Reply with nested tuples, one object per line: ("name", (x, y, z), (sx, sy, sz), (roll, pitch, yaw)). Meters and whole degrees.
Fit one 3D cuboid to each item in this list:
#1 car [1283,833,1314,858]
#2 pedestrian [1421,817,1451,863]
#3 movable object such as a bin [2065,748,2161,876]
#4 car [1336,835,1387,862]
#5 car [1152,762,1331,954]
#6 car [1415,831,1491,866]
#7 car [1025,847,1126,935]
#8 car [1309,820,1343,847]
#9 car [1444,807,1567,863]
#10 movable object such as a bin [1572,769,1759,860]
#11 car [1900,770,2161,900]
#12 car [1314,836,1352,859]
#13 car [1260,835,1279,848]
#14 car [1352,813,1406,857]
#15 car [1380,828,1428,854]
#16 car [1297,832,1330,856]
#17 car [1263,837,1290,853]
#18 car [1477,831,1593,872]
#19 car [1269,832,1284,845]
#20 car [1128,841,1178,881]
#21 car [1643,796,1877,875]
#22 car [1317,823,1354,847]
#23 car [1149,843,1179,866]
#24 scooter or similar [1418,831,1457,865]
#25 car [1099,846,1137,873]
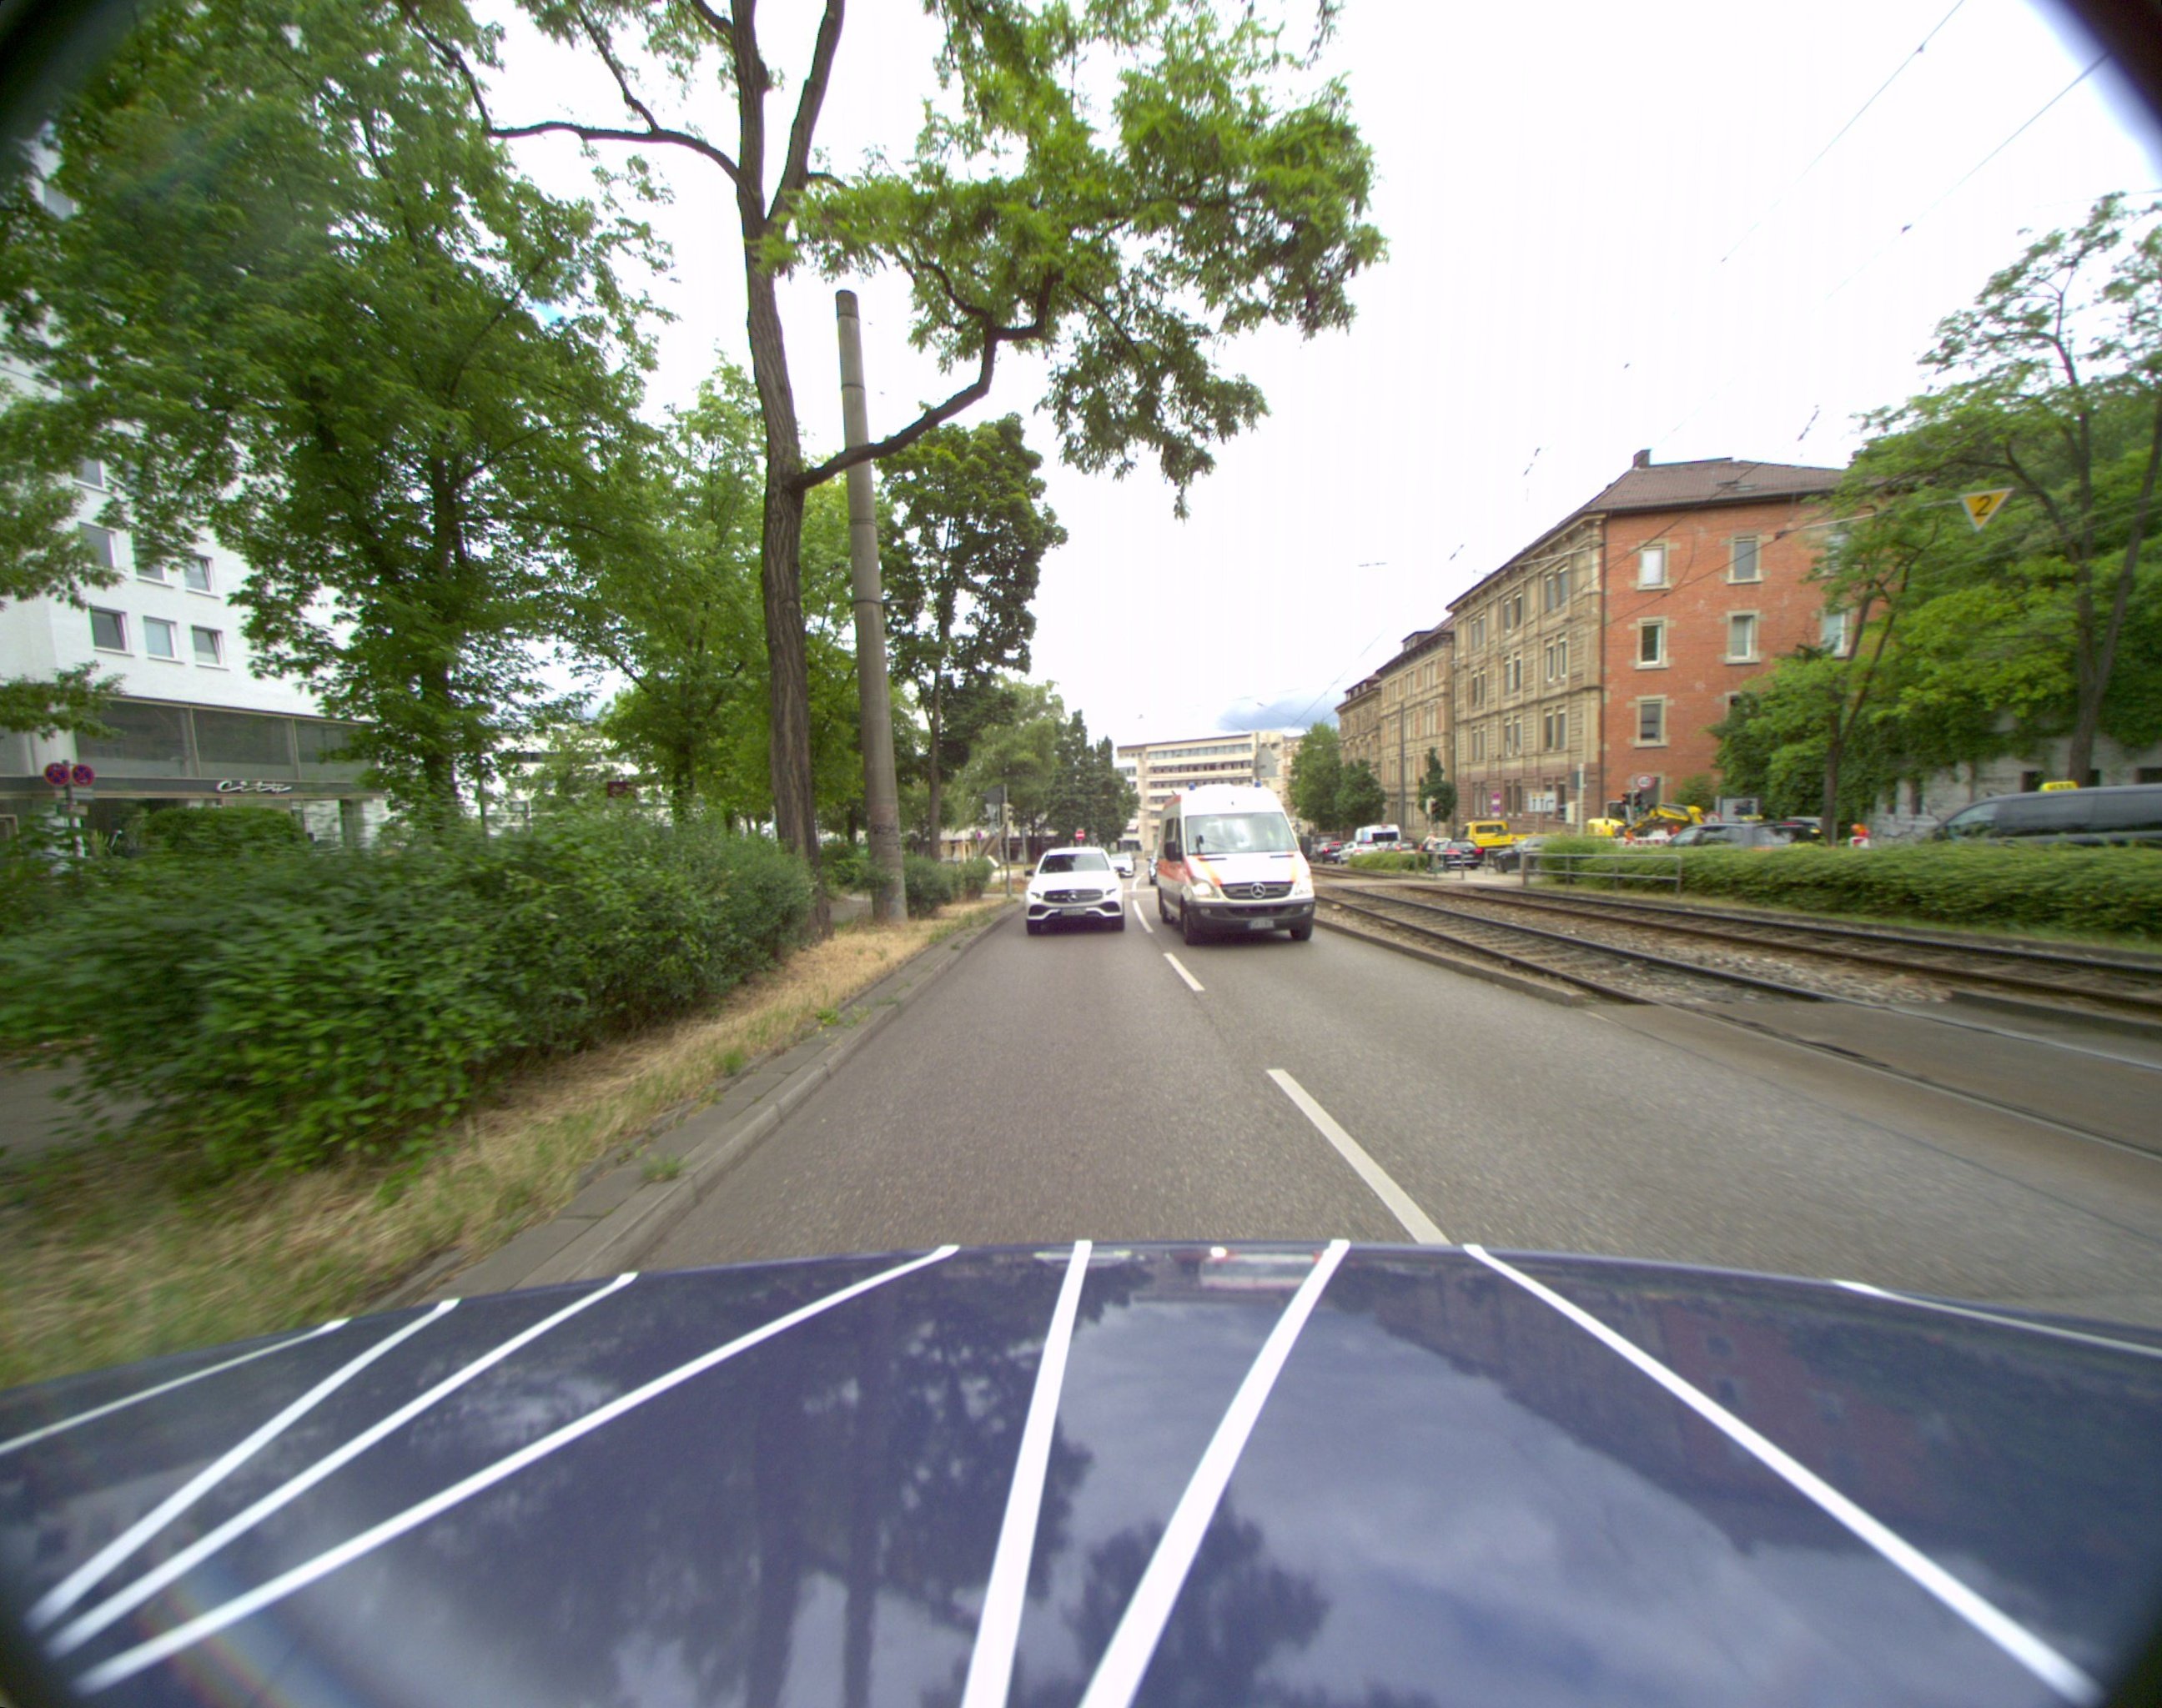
("car", (18.705, -0.766, 65.392), (1.997, 2.033, 4.002), (-1, 1, 8))
("pedestrian", (14.244, -0.548, 30.465), (0.742, 1.807, 0.792), (-1, 1, -16))
("movable object such as a bin", (21.606, -0.849, 14.000), (1.936, 2.453, 4.100), (-3, 0, 10))
("car", (17.125, -0.379, 46.634), (1.707, 1.558, 3.999), (-1, 1, 1))
("car", (2.575, 0.022, 13.823), (2.038, 2.684, 5.853), (-2, 1, 1))
("car", (17.202, -0.275, 35.321), (1.782, 1.453, 4.000), (-1, 1, 4))
("car", (0.019, 0.695, 16.826), (1.894, 1.610, 4.479), (-2, 1, 3))
("car", (21.873, -1.821, 67.880), (2.240, 2.275, 4.002), (-1, 1, 8))
("car", (20.592, -0.922, 37.334), (2.446, 2.422, 6.754), (-2, 1, 3))
("movable object such as a bin", (24.982, -1.585, 32.986), (2.754, 3.528, 6.545), (-2, 1, -4))
("car", (14.490, -0.286, 10.508), (1.997, 1.596, 4.613), (-1, 1, 12))
("car", (17.703, -0.481, 53.531), (1.870, 1.510, 3.951), (-1, 1, 8))
("car", (25.148, -1.702, 101.302), (1.997, 1.609, 4.002), (-2, 1, 7))
("car", (20.332, -1.284, 52.072), (2.213, 2.807, 4.785), (-1, 1, 5))
("car", (19.870, -0.787, 46.916), (1.648, 1.445, 3.566), (-2, 1, 5))
("car", (18.069, -0.807, 59.289), (1.839, 1.740, 4.002), (-1, 1, 8))
("car", (20.267, -0.928, 78.963), (1.998, 1.609, 4.001), (-2, 1, 5))
("car", (16.911, -0.156, 28.637), (1.885, 1.427, 4.846), (0, 2, 6))
("car", (28.747, -2.333, 111.859), (1.699, 1.800, 4.002), (-2, 1, 10))
("car", (3.296, 0.274, 34.095), (1.929, 1.563, 4.182), (-3, 1, 8))
("car", (15.761, -0.423, 18.048), (1.997, 1.596, 4.622), (-1, 1, 10))
("car", (21.464, -1.612, 64.234), (2.319, 1.928, 3.438), (-1, 1, 8))
("car", (5.978, 0.040, 54.979), (1.998, 1.543, 4.318), (-1, 1, 5))
("scooter or similar", (14.136, -0.241, 30.122), (1.500, 1.288, 0.532), (-2, 2, -24))
("car", (2.174, 0.287, 43.798), (1.821, 1.441, 3.854), (-1, 1, 8))
